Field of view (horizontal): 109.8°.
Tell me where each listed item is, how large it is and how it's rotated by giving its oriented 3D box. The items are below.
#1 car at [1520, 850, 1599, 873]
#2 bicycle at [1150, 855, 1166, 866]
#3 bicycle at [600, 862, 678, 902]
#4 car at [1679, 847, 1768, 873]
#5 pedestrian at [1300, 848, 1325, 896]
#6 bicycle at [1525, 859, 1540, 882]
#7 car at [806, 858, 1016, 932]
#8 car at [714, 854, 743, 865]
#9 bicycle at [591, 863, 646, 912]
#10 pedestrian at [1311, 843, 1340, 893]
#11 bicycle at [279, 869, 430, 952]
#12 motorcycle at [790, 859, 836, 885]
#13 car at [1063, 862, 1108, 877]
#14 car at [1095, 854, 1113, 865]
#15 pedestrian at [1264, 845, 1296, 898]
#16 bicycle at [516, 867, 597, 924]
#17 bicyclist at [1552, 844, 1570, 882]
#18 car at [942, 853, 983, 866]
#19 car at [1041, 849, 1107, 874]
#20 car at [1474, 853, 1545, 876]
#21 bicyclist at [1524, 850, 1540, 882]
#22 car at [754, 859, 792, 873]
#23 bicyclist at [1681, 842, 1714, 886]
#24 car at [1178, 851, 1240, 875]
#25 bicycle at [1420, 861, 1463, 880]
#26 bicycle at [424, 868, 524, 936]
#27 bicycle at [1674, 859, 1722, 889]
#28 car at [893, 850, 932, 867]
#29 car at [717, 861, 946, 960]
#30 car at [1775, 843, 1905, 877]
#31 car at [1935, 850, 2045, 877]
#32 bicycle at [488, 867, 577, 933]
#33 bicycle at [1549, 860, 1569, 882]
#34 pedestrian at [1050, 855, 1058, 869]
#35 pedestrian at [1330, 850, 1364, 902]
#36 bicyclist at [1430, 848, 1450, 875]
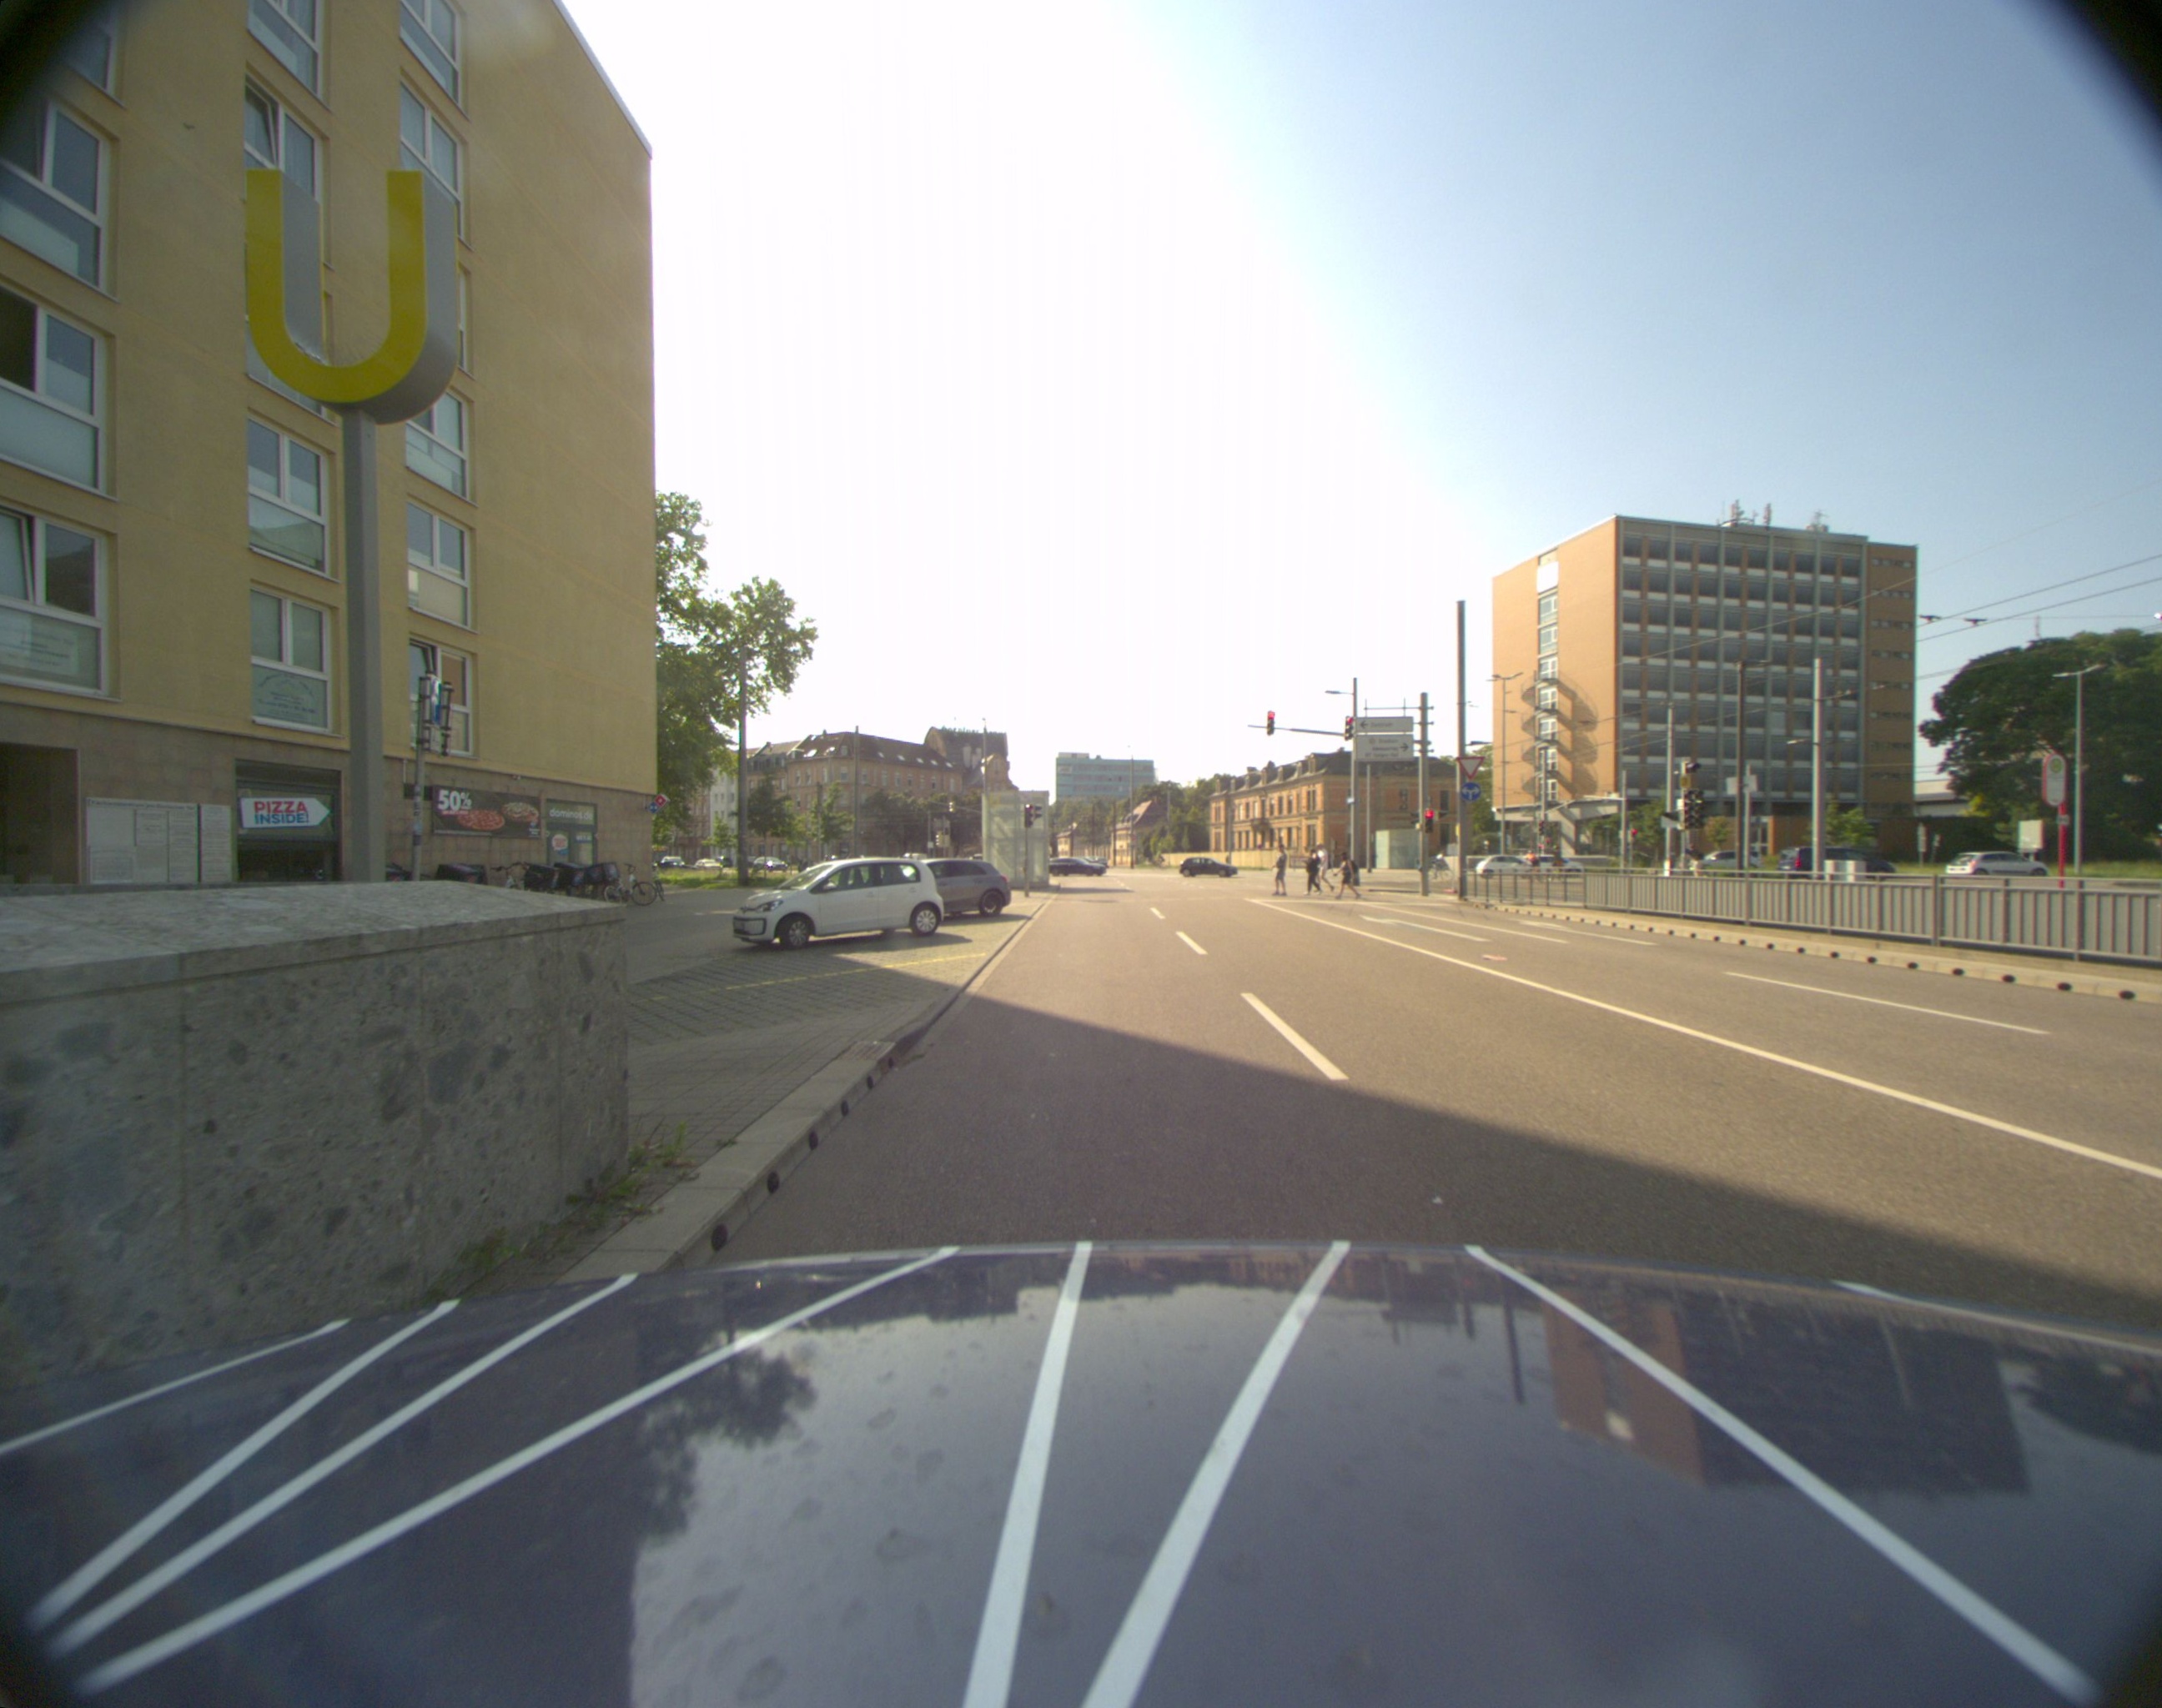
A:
[{"bbox_3d":[30.634,0.456,48.771,3.990,1.407,1.806,0,0,22],"label":"car"},{"bbox_3d":[8.426,0.739,83.033,1.768,1.187,0.402,0,1,23],"label":"bicycle"},{"bbox_3d":[-13.664,0.854,23.500,2.021,1.199,0.671,0,1,1],"label":"bicycle"},{"bbox_3d":[44.135,0.416,52.319,4.280,1.696,1.955,0,-2,17],"label":"car"},{"bbox_3d":[7.833,0.608,25.677,0.634,1.588,0.468,2,1,-1],"label":"pedestrian"},{"bbox_3d":[23.465,0.861,39.500,0.311,1.158,1.501,0,0,17],"label":"bicycle"},{"bbox_3d":[-3.851,0.857,17.677,4.418,1.415,1.842,-1,1,-41],"label":"car"},{"bbox_3d":[-51.518,0.761,110.976,4.277,1.614,1.819,0,-1,33],"label":"car"},{"bbox_3d":[-12.517,0.891,20.602,0.470,1.254,1.636,0,0,0],"label":"bicycle"},{"bbox_3d":[8.948,0.491,27.807,0.834,1.778,0.729,2,1,9],"label":"pedestrian"},{"bbox_3d":[-12.183,0.896,12.845,0.604,1.254,1.997,0,0,1],"label":"bicycle"},{"bbox_3d":[-12.162,0.791,34.576,0.704,1.140,2.304,0,0,17],"label":"motorcycle"},{"bbox_3d":[0.443,1.562,78.015,4.315,1.456,1.677,0,-2,21],"label":"car"},{"bbox_3d":[2.872,0.718,97.119,1.693,1.319,3.997,0,0,-7],"label":"car"},{"bbox_3d":[6.472,0.559,24.755,0.816,1.683,0.651,2,1,1],"label":"pedestrian"},{"bbox_3d":[-12.297,0.942,17.873,0.604,1.254,1.849,0,0,0],"label":"bicycle"},{"bbox_3d":[24.797,0.458,39.242,0.580,1.963,0.808,0,0,16],"label":"bicyclist"},{"bbox_3d":[-13.232,0.627,84.794,4.279,1.456,1.677,0,-2,25],"label":"car"},{"bbox_3d":[-0.547,0.529,57.306,4.564,1.842,2.003,0,1,23],"label":"car"},{"bbox_3d":[26.402,0.629,46.898,3.607,1.407,1.806,0,0,21],"label":"car"},{"bbox_3d":[23.466,0.621,39.524,0.511,1.620,0.808,0,0,16],"label":"bicyclist"},{"bbox_3d":[-31.414,1.208,77.415,3.621,1.433,1.807,0,0,32],"label":"car"},{"bbox_3d":[23.523,0.362,29.000,0.588,1.647,0.790,0,1,1],"label":"bicyclist"},{"bbox_3d":[9.021,0.603,53.508,3.990,1.587,2.003,0,1,24],"label":"car"},{"bbox_3d":[20.552,0.927,43.359,2.192,0.984,0.530,1,2,25],"label":"bicycle"},{"bbox_3d":[-12.279,0.934,15.455,0.604,1.254,1.996,0,0,-7],"label":"bicycle"},{"bbox_3d":[23.525,0.758,29.000,0.402,1.103,1.746,0,0,0],"label":"bicycle"},{"bbox_3d":[-19.733,0.563,89.093,4.278,1.875,1.799,0,-2,29],"label":"car"},{"bbox_3d":[-4.399,0.906,13.641,3.535,1.455,1.618,-1,1,-41],"label":"car"},{"bbox_3d":[41.892,0.309,42.085,4.761,1.817,1.806,0,0,24],"label":"car"},{"bbox_3d":[50.961,0.513,42.694,3.548,1.427,1.806,0,0,21],"label":"car"},{"bbox_3d":[-11.453,0.916,15.940,0.604,1.254,1.996,0,0,-7],"label":"bicycle"},{"bbox_3d":[24.876,0.874,39.538,0.376,1.158,1.861,0,0,17],"label":"bicycle"},{"bbox_3d":[-3.453,1.005,95.892,0.791,1.677,0.662,0,1,29],"label":"pedestrian"},{"bbox_3d":[8.247,0.674,23.579,0.809,1.539,0.548,2,1,2],"label":"pedestrian"},{"bbox_3d":[20.469,0.414,43.320,0.969,1.467,1.089,1,1,26],"label":"bicyclist"}]
